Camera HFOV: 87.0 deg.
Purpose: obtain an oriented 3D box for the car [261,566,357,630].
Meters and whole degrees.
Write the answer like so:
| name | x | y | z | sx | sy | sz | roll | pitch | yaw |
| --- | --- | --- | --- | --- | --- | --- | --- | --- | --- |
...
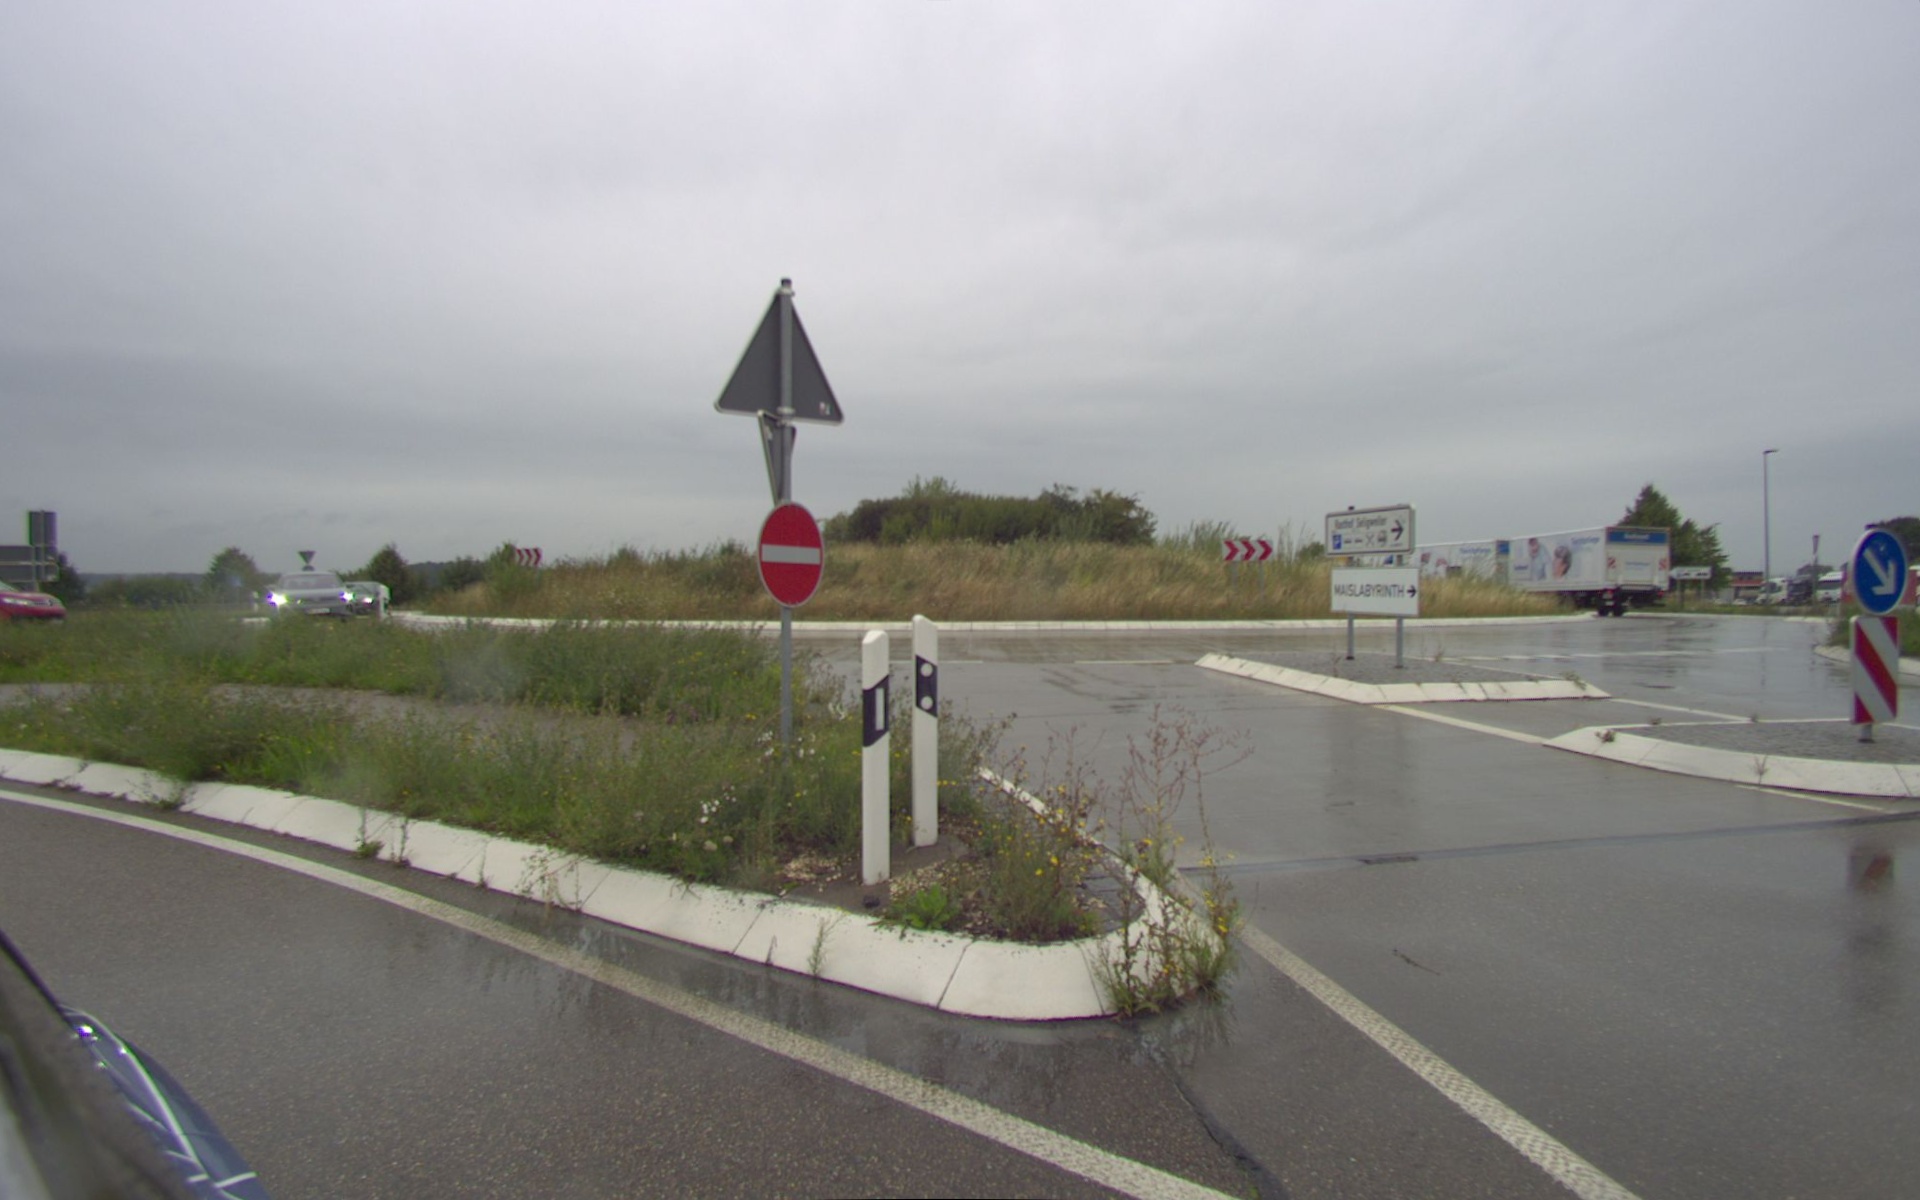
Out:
| name | x | y | z | sx | sy | sz | roll | pitch | yaw |
| --- | --- | --- | --- | --- | --- | --- | --- | --- | --- |
| car | -18.469 | -0.133 | 28.604 | 1.967 | 1.586 | 4.511 | -4 | 4 | -36 |

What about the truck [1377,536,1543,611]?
| name | x | y | z | sx | sy | sz | roll | pitch | yaw |
| --- | --- | --- | --- | --- | --- | --- | --- | --- | --- |
| truck | 26.066 | -1.272 | 53.349 | 3.064 | 3.625 | 8.198 | -1 | 0 | -16 |

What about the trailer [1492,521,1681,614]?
| name | x | y | z | sx | sy | sz | roll | pitch | yaw |
| --- | --- | --- | --- | --- | --- | --- | --- | --- | --- |
| trailer | 27.187 | -1.293 | 44.592 | 3.059 | 3.641 | 8.853 | -1 | 0 | 2 |

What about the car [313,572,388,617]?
| name | x | y | z | sx | sy | sz | roll | pitch | yaw |
| --- | --- | --- | --- | --- | --- | --- | --- | --- | --- |
| car | -23.879 | -0.238 | 39.816 | 1.795 | 1.602 | 4.013 | -3 | 2 | -21 |

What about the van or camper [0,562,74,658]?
| name | x | y | z | sx | sy | sz | roll | pitch | yaw |
| --- | --- | --- | --- | --- | --- | --- | --- | --- | --- |
| van or camper | -22.712 | 0.209 | 21.974 | 4.764 | 2.028 | 2.007 | -1 | 3 | -19 |
